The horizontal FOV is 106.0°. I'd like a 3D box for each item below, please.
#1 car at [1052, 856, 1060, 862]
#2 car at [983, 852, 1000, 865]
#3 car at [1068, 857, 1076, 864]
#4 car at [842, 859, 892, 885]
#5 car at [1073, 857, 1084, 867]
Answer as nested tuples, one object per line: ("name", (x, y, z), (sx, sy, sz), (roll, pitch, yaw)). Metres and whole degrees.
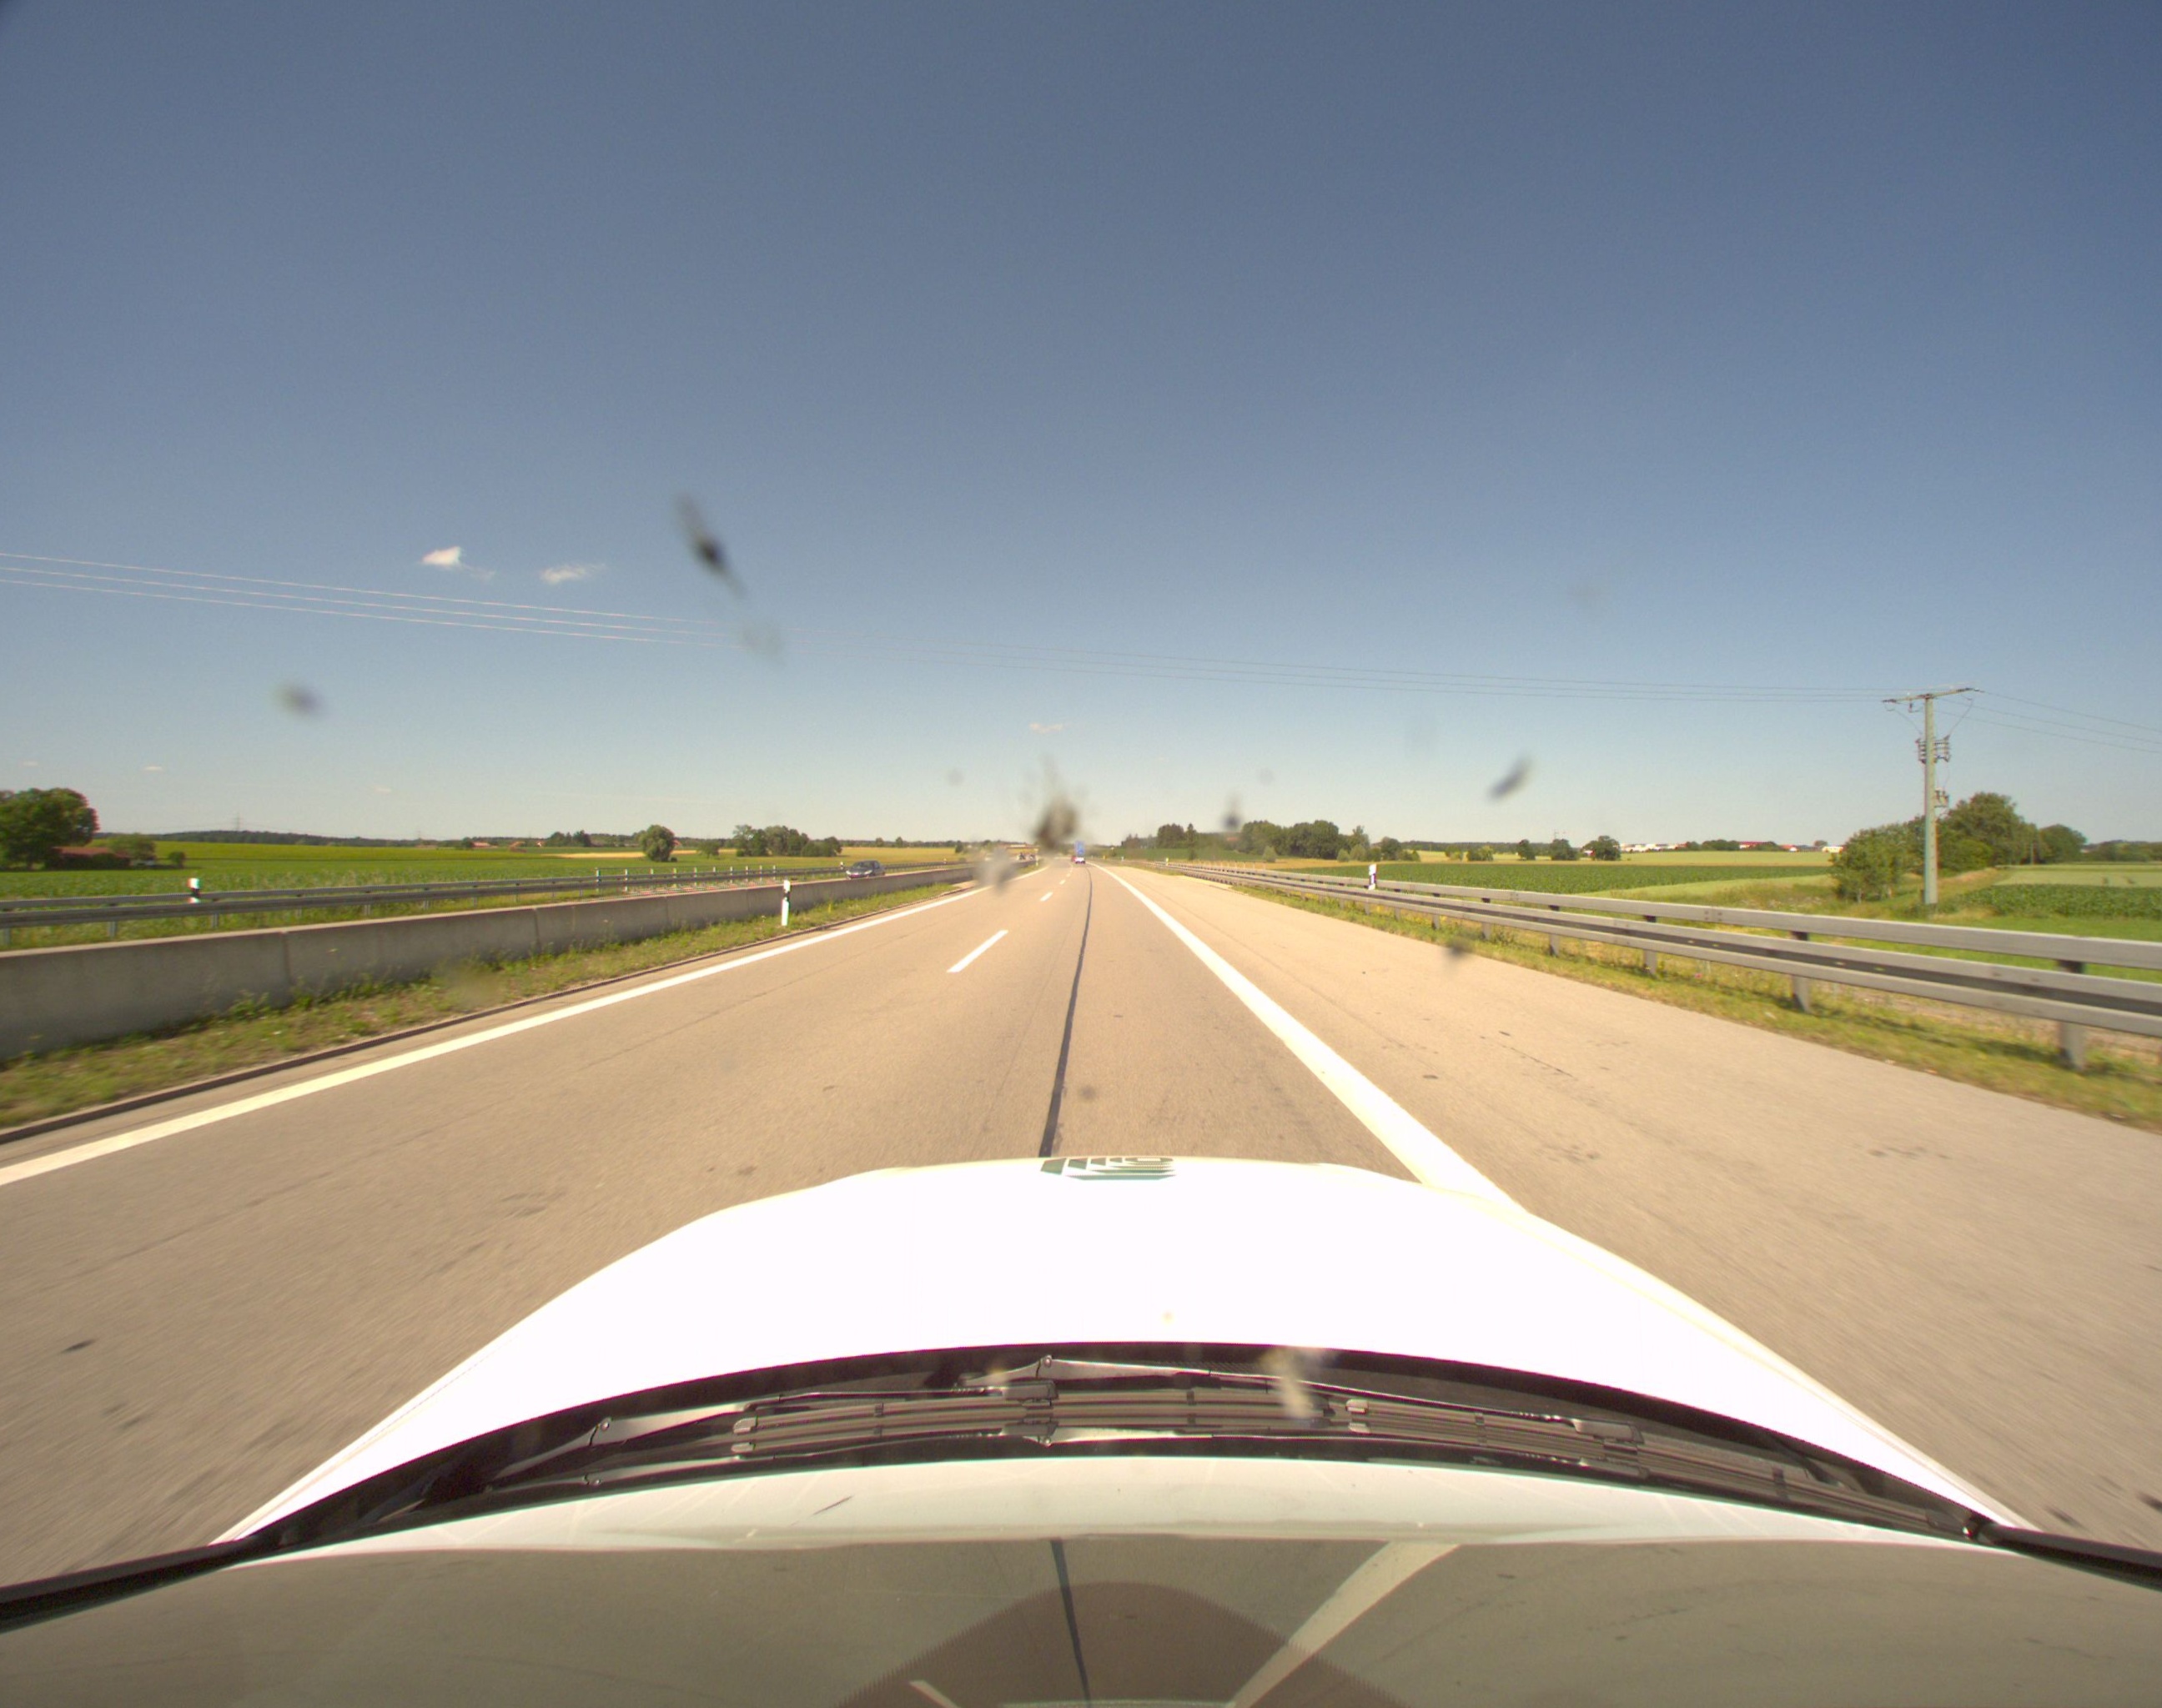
("car", (-7.647, 1.501, 248.524), (1.990, 1.731, 4.860), (0, 0, -5))
("car", (-14.002, 0.760, 127.211), (1.987, 2.014, 5.612), (-1, -1, 0))
("car", (-2.275, 1.617, 204.078), (1.989, 1.731, 4.863), (0, 0, -3))
("car", (-13.451, 1.092, 51.401), (1.853, 1.514, 4.586), (1, 0, 1))
("car", (-0.442, 1.485, 153.495), (1.989, 1.731, 4.865), (0, 0, -2))
